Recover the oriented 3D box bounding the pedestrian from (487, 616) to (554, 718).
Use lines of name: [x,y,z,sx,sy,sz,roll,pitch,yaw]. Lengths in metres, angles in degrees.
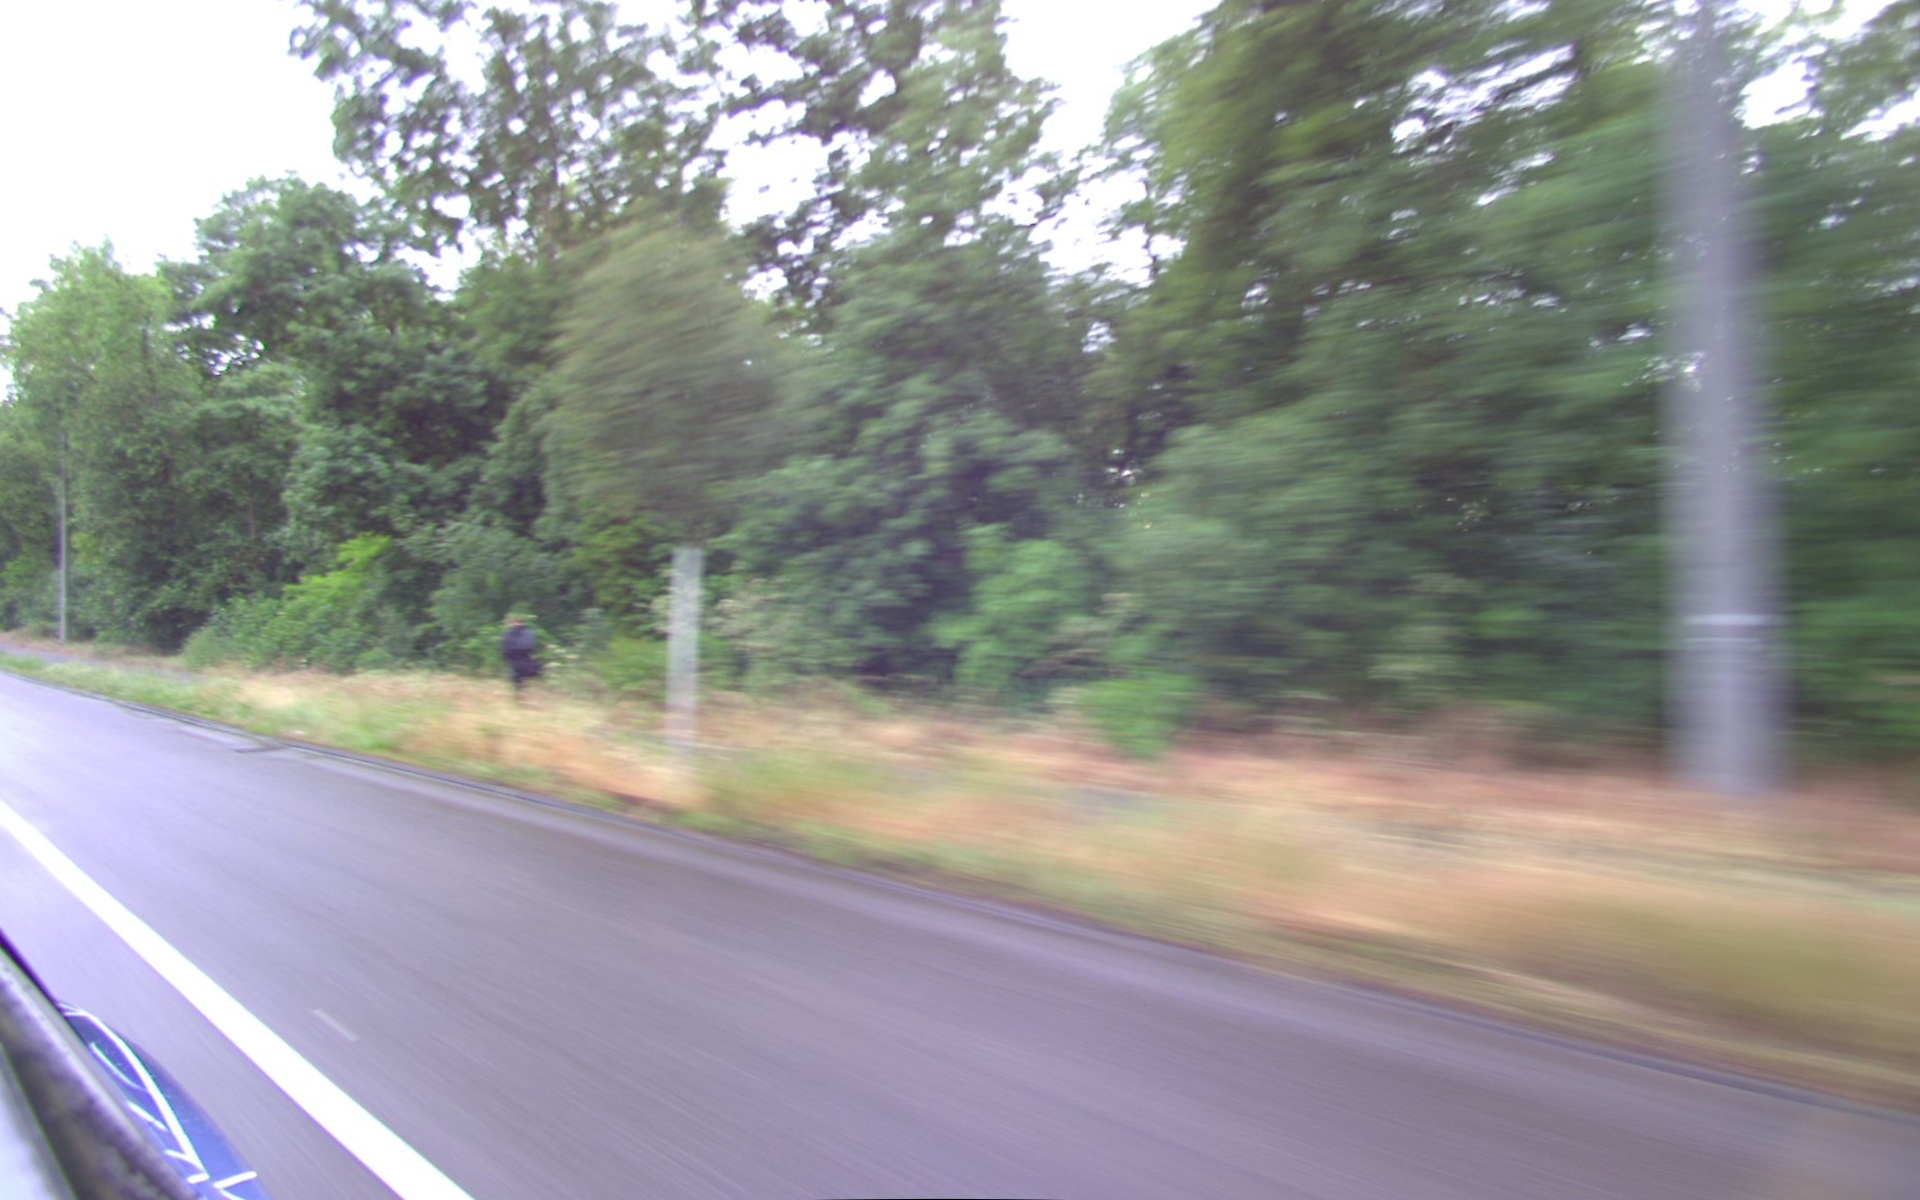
pedestrian: [-7.296,1.086,16.798,0.732,1.620,0.773,-1,-1,40]
